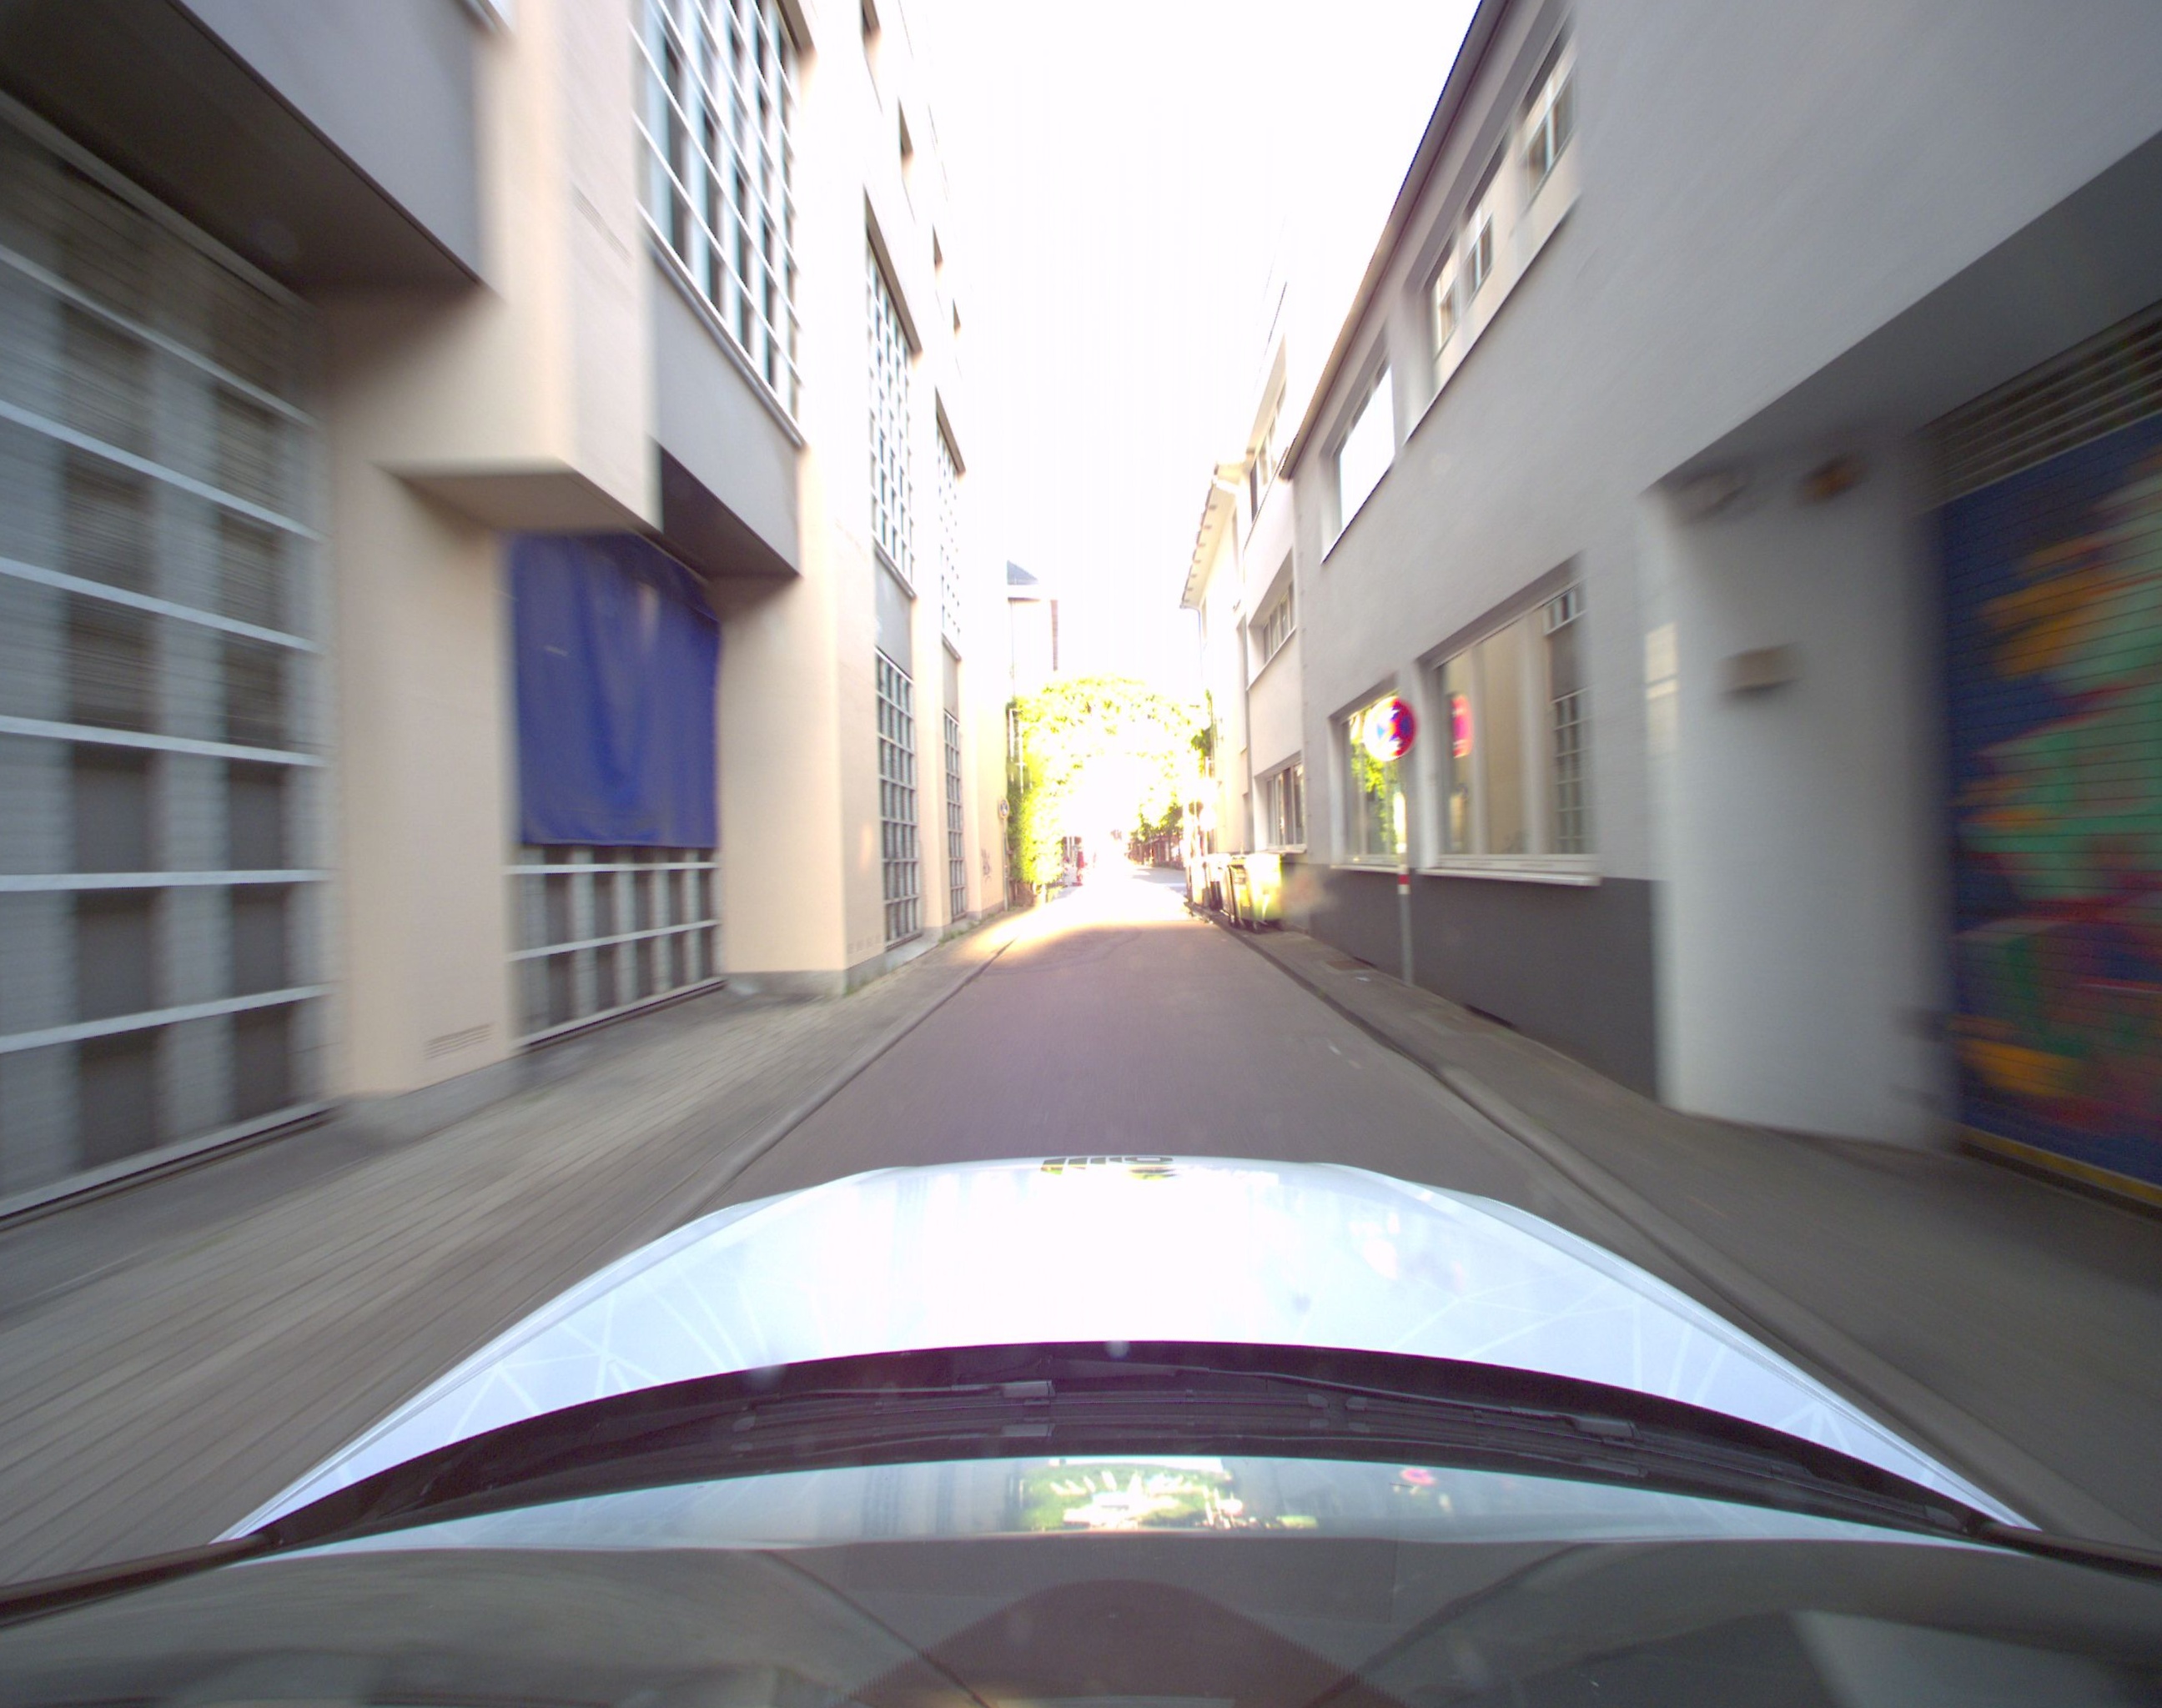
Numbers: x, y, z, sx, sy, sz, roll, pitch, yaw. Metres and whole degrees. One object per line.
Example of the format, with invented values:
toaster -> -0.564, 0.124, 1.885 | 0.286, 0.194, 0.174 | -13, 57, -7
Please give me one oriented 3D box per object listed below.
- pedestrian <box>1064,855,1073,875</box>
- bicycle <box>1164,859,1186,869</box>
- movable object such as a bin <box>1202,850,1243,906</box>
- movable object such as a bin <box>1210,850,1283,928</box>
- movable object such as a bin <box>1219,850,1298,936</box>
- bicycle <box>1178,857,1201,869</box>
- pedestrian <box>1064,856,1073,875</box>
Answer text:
pedestrian -> -1.090, 0.953, 71.054 | 0.651, 1.764, 0.635 | -3, -1, 5
bicycle -> 9.637, 0.999, 83.336 | 2.151, 0.926, 0.589 | -3, -2, -7
movable object such as a bin -> 3.535, 0.593, 20.432 | 0.832, 1.305, 1.292 | -4, 0, 5
movable object such as a bin -> 3.182, 0.658, 15.786 | 1.061, 1.366, 1.342 | -4, 0, 0
movable object such as a bin -> 3.099, 0.660, 14.382 | 0.935, 1.366, 1.340 | -4, 0, -4
bicycle -> 10.674, 0.922, 80.130 | 2.137, 1.061, 0.593 | -3, -2, 14
pedestrian -> -1.074, 1.023, 71.702 | 0.651, 1.651, 0.635 | -3, -1, 5
